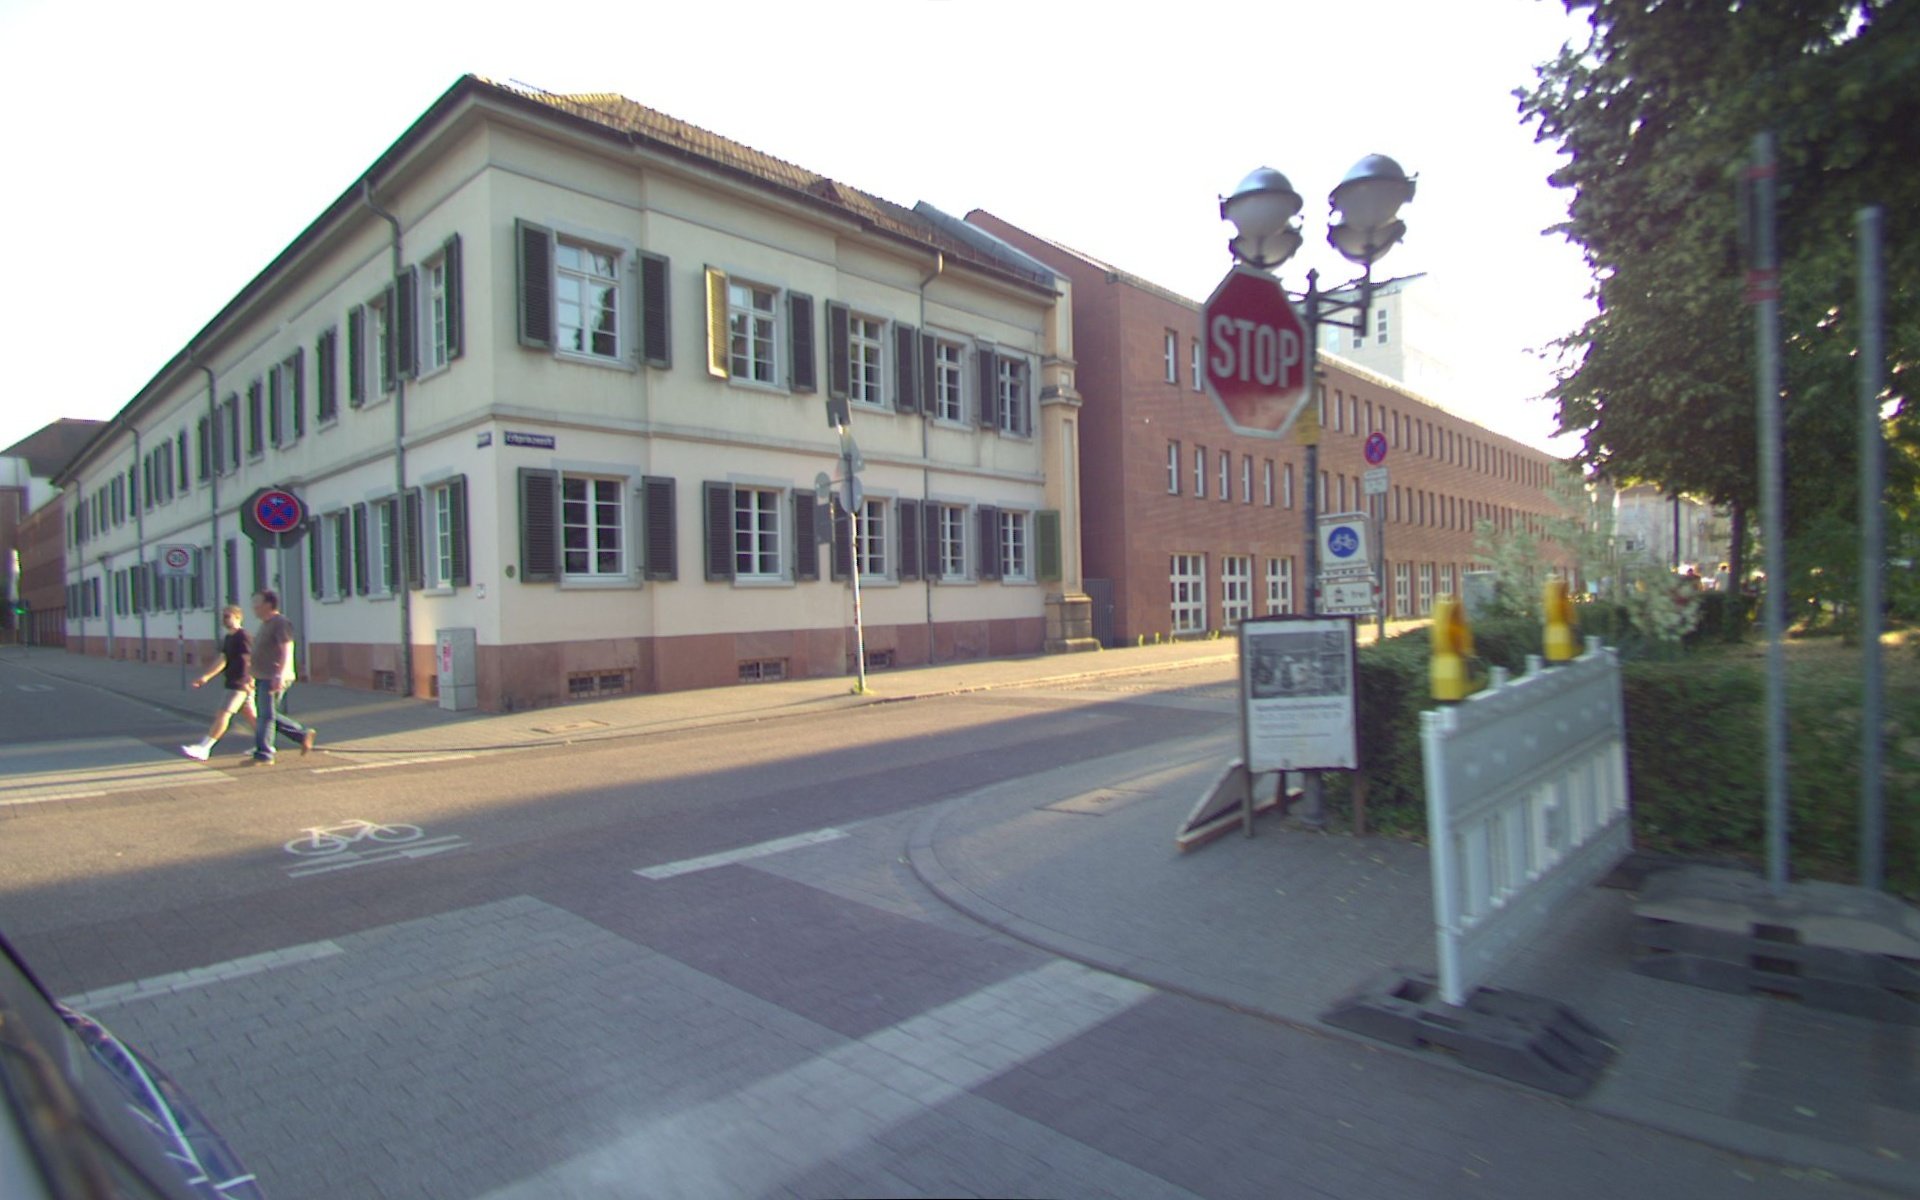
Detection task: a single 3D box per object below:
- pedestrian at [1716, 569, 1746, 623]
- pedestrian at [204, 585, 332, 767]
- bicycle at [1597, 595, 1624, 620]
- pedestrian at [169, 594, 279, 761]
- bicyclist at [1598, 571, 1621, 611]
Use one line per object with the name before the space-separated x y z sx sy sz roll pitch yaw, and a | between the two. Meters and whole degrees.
pedestrian | 25.180 -0.128 33.036 0.654 1.706 0.741 -2 -1 45
pedestrian | -7.241 0.755 10.603 0.761 1.801 0.929 -2 -1 41
bicycle | 25.766 0.286 40.074 0.533 0.940 1.808 -2 -1 45
pedestrian | -8.134 0.824 11.195 0.649 1.753 0.847 -2 -1 41
bicyclist | 25.673 -0.349 40.010 0.630 1.563 0.667 -2 -1 45
